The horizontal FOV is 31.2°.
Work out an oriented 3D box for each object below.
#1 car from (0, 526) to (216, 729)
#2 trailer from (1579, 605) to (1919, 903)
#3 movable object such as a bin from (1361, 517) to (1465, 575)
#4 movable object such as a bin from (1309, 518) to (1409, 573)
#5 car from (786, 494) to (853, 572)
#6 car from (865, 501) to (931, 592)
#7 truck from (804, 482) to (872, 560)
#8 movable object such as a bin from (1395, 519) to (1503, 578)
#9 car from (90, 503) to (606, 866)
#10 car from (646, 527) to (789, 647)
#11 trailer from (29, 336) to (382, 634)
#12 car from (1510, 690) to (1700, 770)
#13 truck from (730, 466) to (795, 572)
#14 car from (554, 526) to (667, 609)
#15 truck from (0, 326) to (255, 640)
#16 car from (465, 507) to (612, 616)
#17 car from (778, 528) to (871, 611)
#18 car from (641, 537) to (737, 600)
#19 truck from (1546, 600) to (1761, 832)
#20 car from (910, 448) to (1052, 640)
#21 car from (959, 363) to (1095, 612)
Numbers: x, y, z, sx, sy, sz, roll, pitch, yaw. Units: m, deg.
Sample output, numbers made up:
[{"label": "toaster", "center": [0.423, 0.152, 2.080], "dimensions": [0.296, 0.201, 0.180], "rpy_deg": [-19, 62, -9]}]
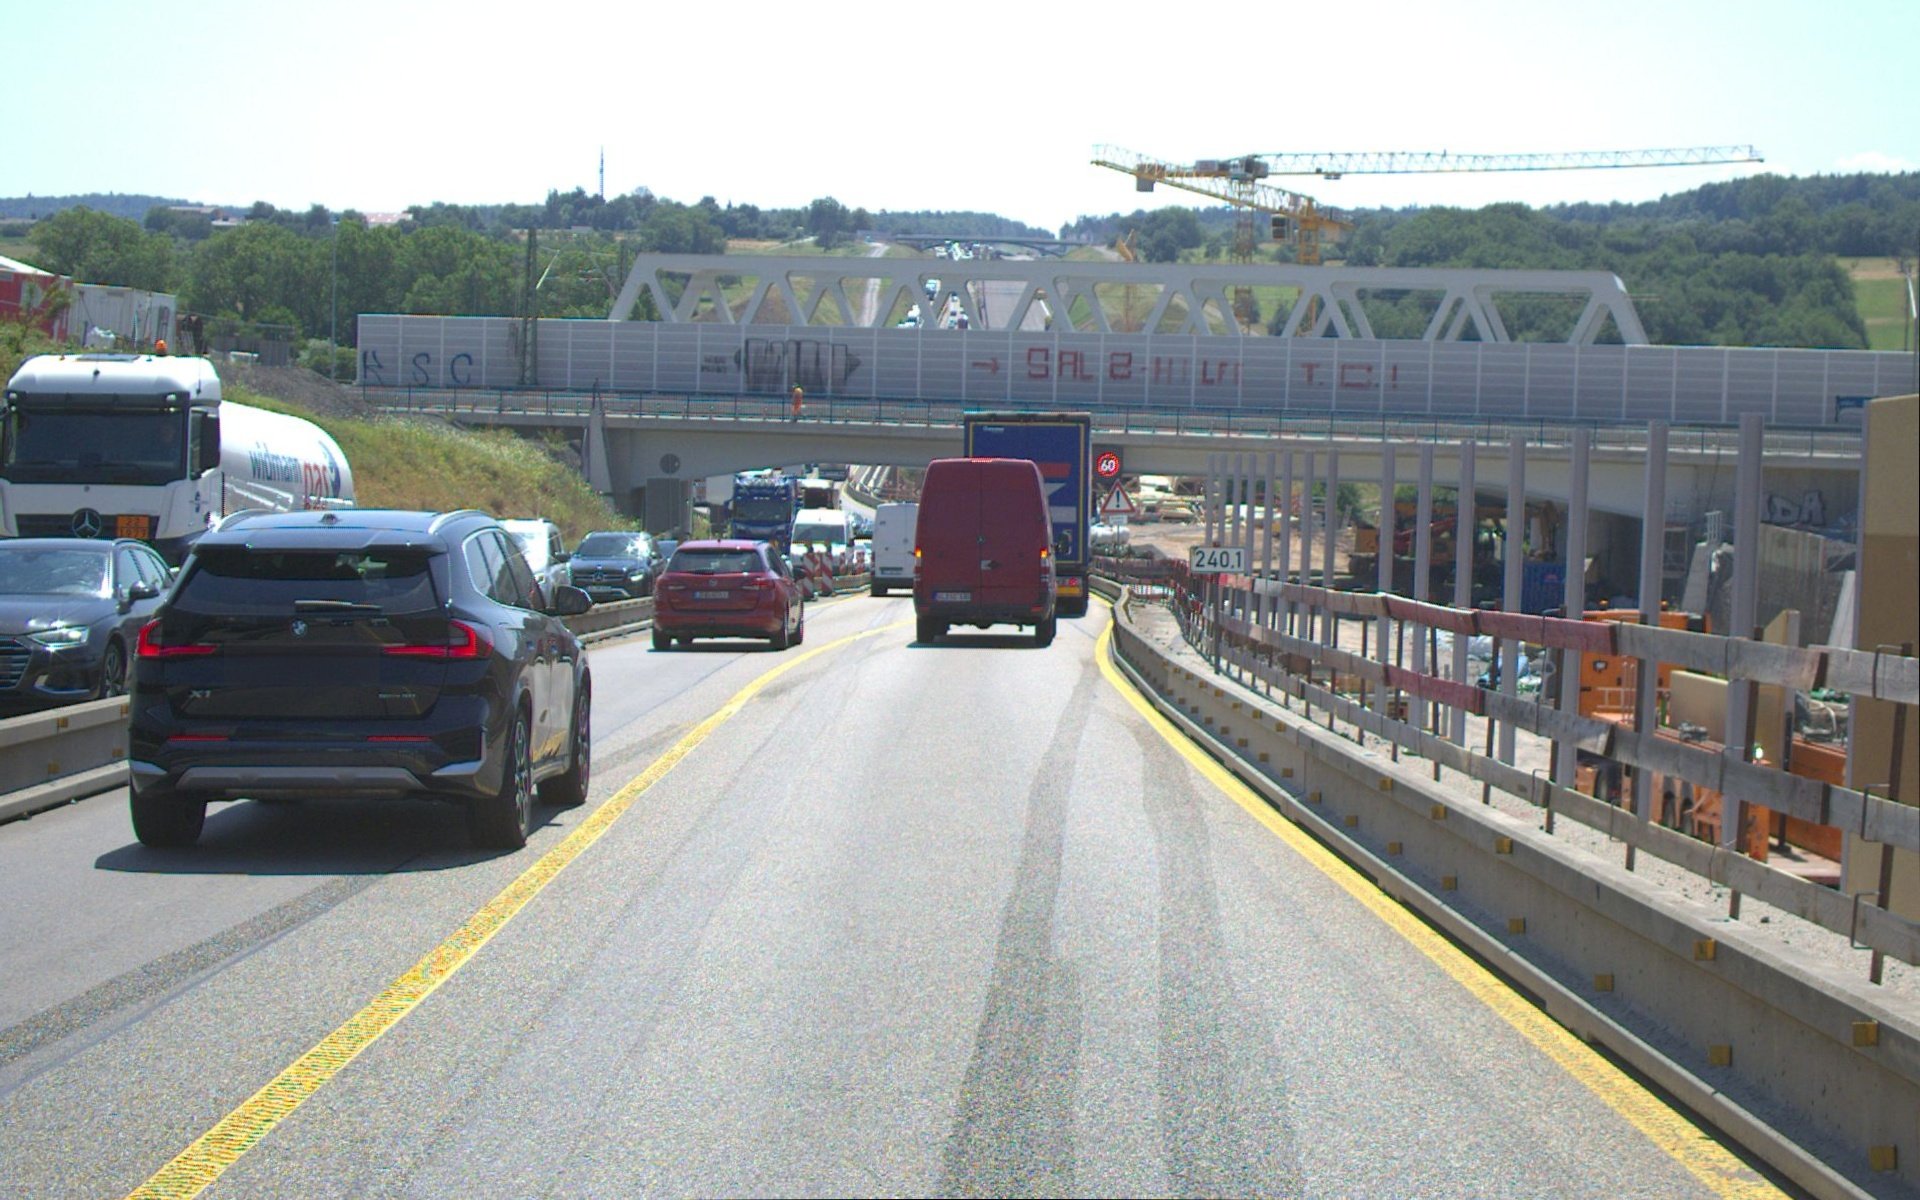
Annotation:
[{"label": "car", "center": [-7.277, 0.149, 27.302], "dimensions": [1.779, 1.453, 4.721], "rpy_deg": [1, 1, -1]}, {"label": "trailer", "center": [12.519, 2.213, 55.753], "dimensions": [2.758, 3.873, 13.049], "rpy_deg": [1, 1, 1]}, {"label": "movable object such as a bin", "center": [23.171, -2.771, 175.980], "dimensions": [5.147, 2.798, 2.142], "rpy_deg": [1, 1, 6]}, {"label": "movable object such as a bin", "center": [21.046, -2.866, 181.338], "dimensions": [5.147, 2.798, 2.142], "rpy_deg": [1, 1, 6]}, {"label": "car", "center": [-4.850, -2.354, 119.414], "dimensions": [1.993, 2.598, 7.011], "rpy_deg": [1, 1, 0]}, {"label": "car", "center": [-1.688, -1.499, 94.511], "dimensions": [1.776, 2.433, 4.206], "rpy_deg": [0, 1, -1]}, {"label": "truck", "center": [-6.204, -4.071, 177.291], "dimensions": [2.835, 3.839, 12.913], "rpy_deg": [1, 1, 1]}, {"label": "movable object such as a bin", "center": [24.078, -2.541, 169.439], "dimensions": [5.147, 2.798, 2.142], "rpy_deg": [1, 1, 6]}, {"label": "car", "center": [-2.969, 0.321, 17.621], "dimensions": [1.879, 1.612, 4.499], "rpy_deg": [0, 1, -1]}, {"label": "car", "center": [-3.239, -0.213, 46.520], "dimensions": [1.775, 1.512, 4.207], "rpy_deg": [0, 1, -2]}, {"label": "trailer", "center": [-10.738, -1.632, 50.302], "dimensions": [2.590, 3.788, 11.919], "rpy_deg": [1, 1, 0]}, {"label": "car", "center": [17.531, 3.536, 93.629], "dimensions": [4.728, 1.767, 2.000], "rpy_deg": [3, 3, 1]}, {"label": "truck", "center": [-7.644, -3.161, 133.406], "dimensions": [2.357, 4.001, 4.001], "rpy_deg": [1, 1, -2]}, {"label": "car", "center": [-7.166, -0.693, 70.899], "dimensions": [1.791, 1.606, 4.733], "rpy_deg": [1, 1, 0]}, {"label": "truck", "center": [-10.677, -1.474, 43.804], "dimensions": [2.590, 3.788, 3.767], "rpy_deg": [1, 1, 0]}, {"label": "car", "center": [-6.932, -0.669, 56.920], "dimensions": [1.880, 1.739, 4.483], "rpy_deg": [0, 1, 0]}, {"label": "car", "center": [-2.799, -0.663, 71.633], "dimensions": [1.839, 1.648, 4.165], "rpy_deg": [0, 2, -1]}, {"label": "car", "center": [-6.766, -0.804, 86.373], "dimensions": [1.961, 1.459, 4.941], "rpy_deg": [1, 1, 0]}, {"label": "truck", "center": [12.633, 2.033, 63.110], "dimensions": [2.758, 3.873, 5.882], "rpy_deg": [1, 1, 1]}, {"label": "car", "center": [0.352, -0.840, 50.459], "dimensions": [1.988, 2.681, 4.624], "rpy_deg": [0, 1, 1]}, {"label": "car", "center": [1.347, -2.408, 74.748], "dimensions": [2.621, 5.015, 10.398], "rpy_deg": [0, 1, -1]}]
